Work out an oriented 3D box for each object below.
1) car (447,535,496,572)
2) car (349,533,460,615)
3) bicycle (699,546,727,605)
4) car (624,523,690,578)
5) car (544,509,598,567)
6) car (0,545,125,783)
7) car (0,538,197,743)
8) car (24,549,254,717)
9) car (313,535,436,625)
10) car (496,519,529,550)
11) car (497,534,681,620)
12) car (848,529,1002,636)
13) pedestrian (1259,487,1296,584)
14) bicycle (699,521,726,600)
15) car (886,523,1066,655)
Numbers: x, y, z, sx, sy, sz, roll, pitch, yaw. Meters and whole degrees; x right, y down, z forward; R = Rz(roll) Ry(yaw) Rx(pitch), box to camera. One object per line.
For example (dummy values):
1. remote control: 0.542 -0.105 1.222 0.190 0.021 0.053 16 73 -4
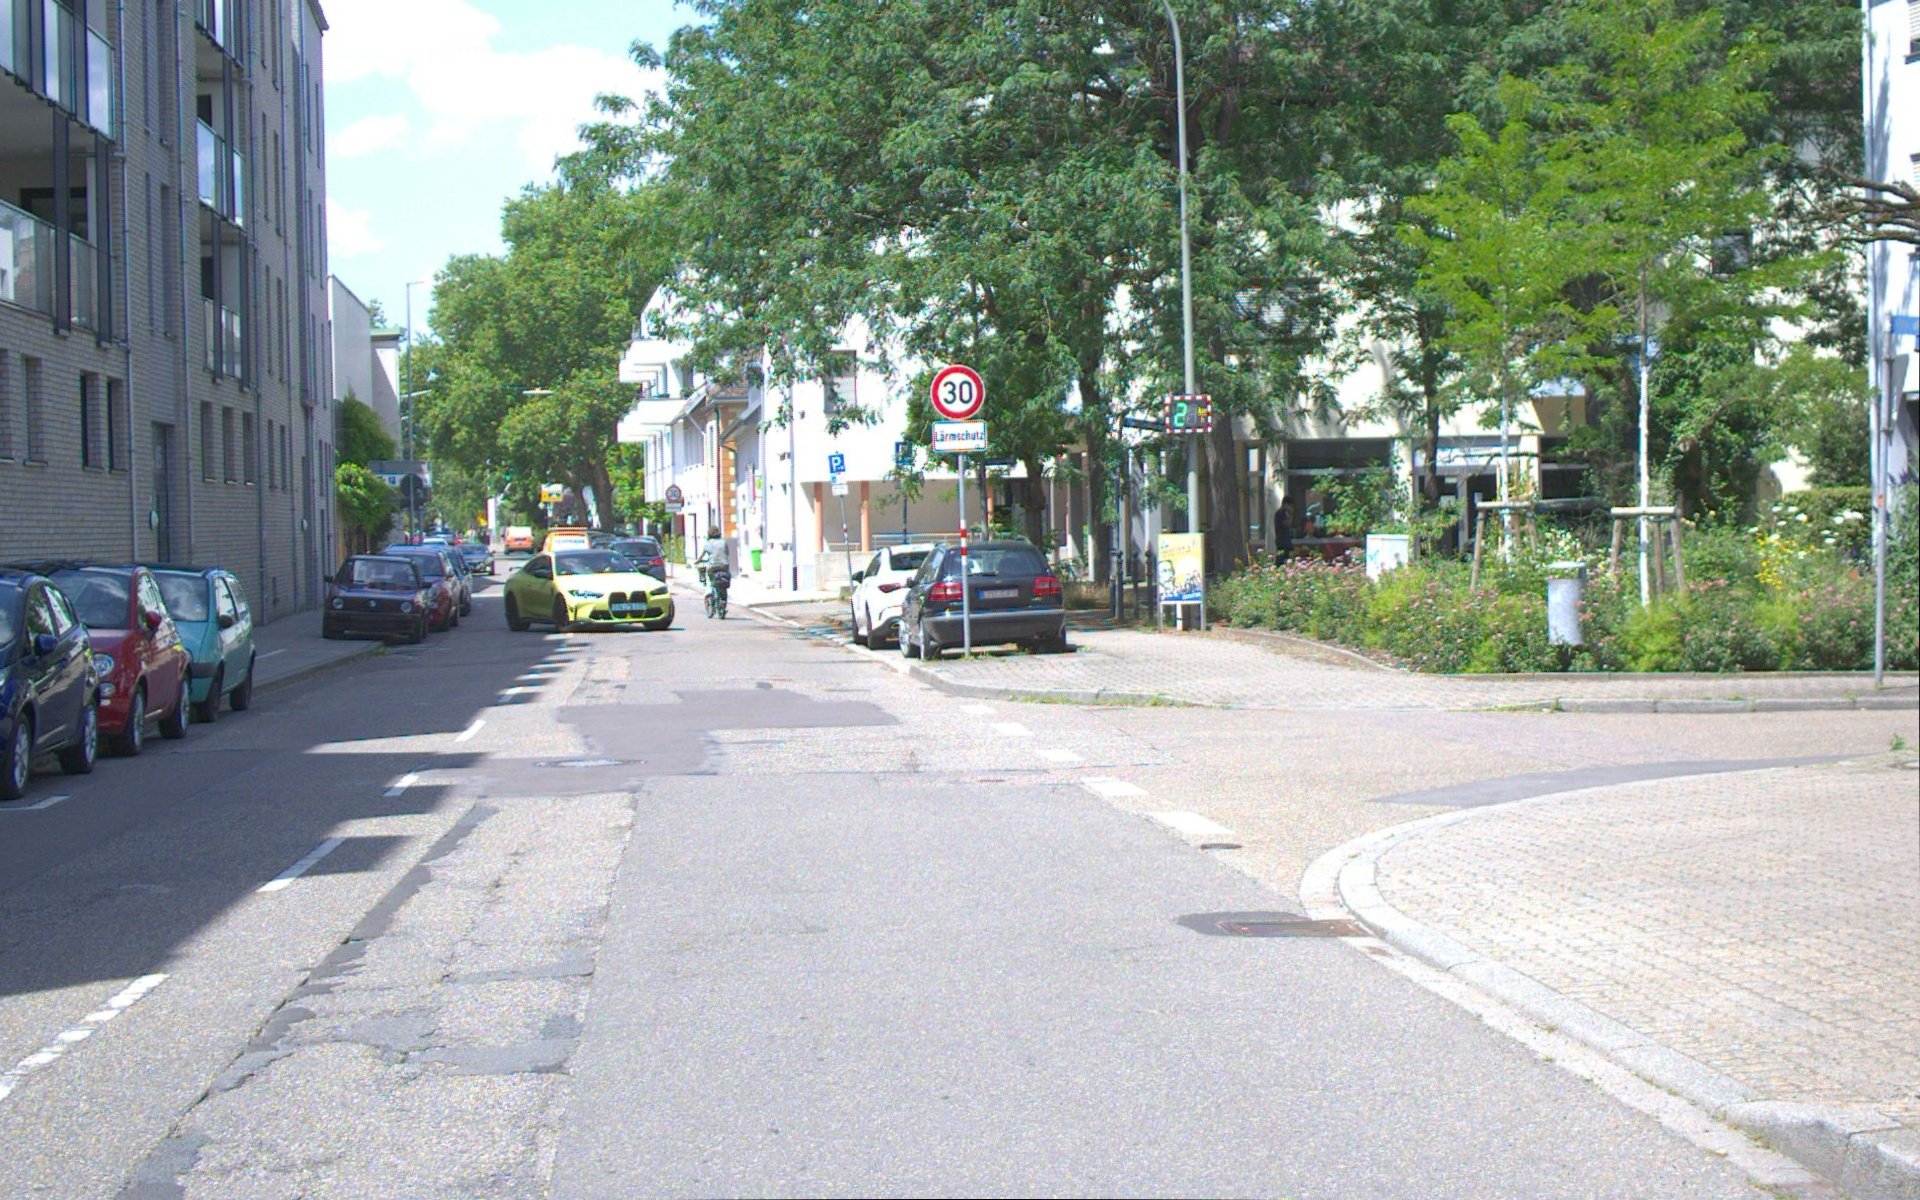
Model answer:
1. car: -21.144 -2.021 148.879 1.993 1.514 4.001 -1 2 -7
2. car: -10.167 -0.504 63.147 1.732 1.437 4.001 -1 1 -5
3. bicycle: -4.708 -0.470 65.488 0.483 1.111 1.196 -1 1 -6
4. car: -8.169 -1.356 93.004 1.715 1.397 4.001 -1 2 -4
5. car: -13.971 -2.250 123.638 1.838 2.006 4.001 -1 2 -6
6. car: -6.882 0.360 23.233 1.723 1.451 4.006 1 1 -4
7. car: -7.257 0.279 27.999 1.590 1.548 3.572 0 1 -5
8. car: -7.692 0.266 32.478 1.590 1.451 3.704 1 1 -5
9. car: -9.857 -0.361 58.130 1.732 1.437 4.001 -1 1 -5
10. car: -30.361 -4.459 233.055 2.156 2.007 4.001 -1 1 -8
11. car: -6.494 -0.421 59.732 1.993 1.376 4.394 1 1 -22
12. car: -0.530 -0.270 48.169 1.778 1.415 4.001 -1 1 -6
13. pedestrian: 6.159 -1.253 66.655 0.595 1.852 0.603 -1 1 14
14. bicycle: -4.720 -0.756 65.511 0.477 1.485 0.576 -1 1 -6
15. car: 0.143 -0.166 41.452 1.692 1.415 4.001 -3 1 -6
